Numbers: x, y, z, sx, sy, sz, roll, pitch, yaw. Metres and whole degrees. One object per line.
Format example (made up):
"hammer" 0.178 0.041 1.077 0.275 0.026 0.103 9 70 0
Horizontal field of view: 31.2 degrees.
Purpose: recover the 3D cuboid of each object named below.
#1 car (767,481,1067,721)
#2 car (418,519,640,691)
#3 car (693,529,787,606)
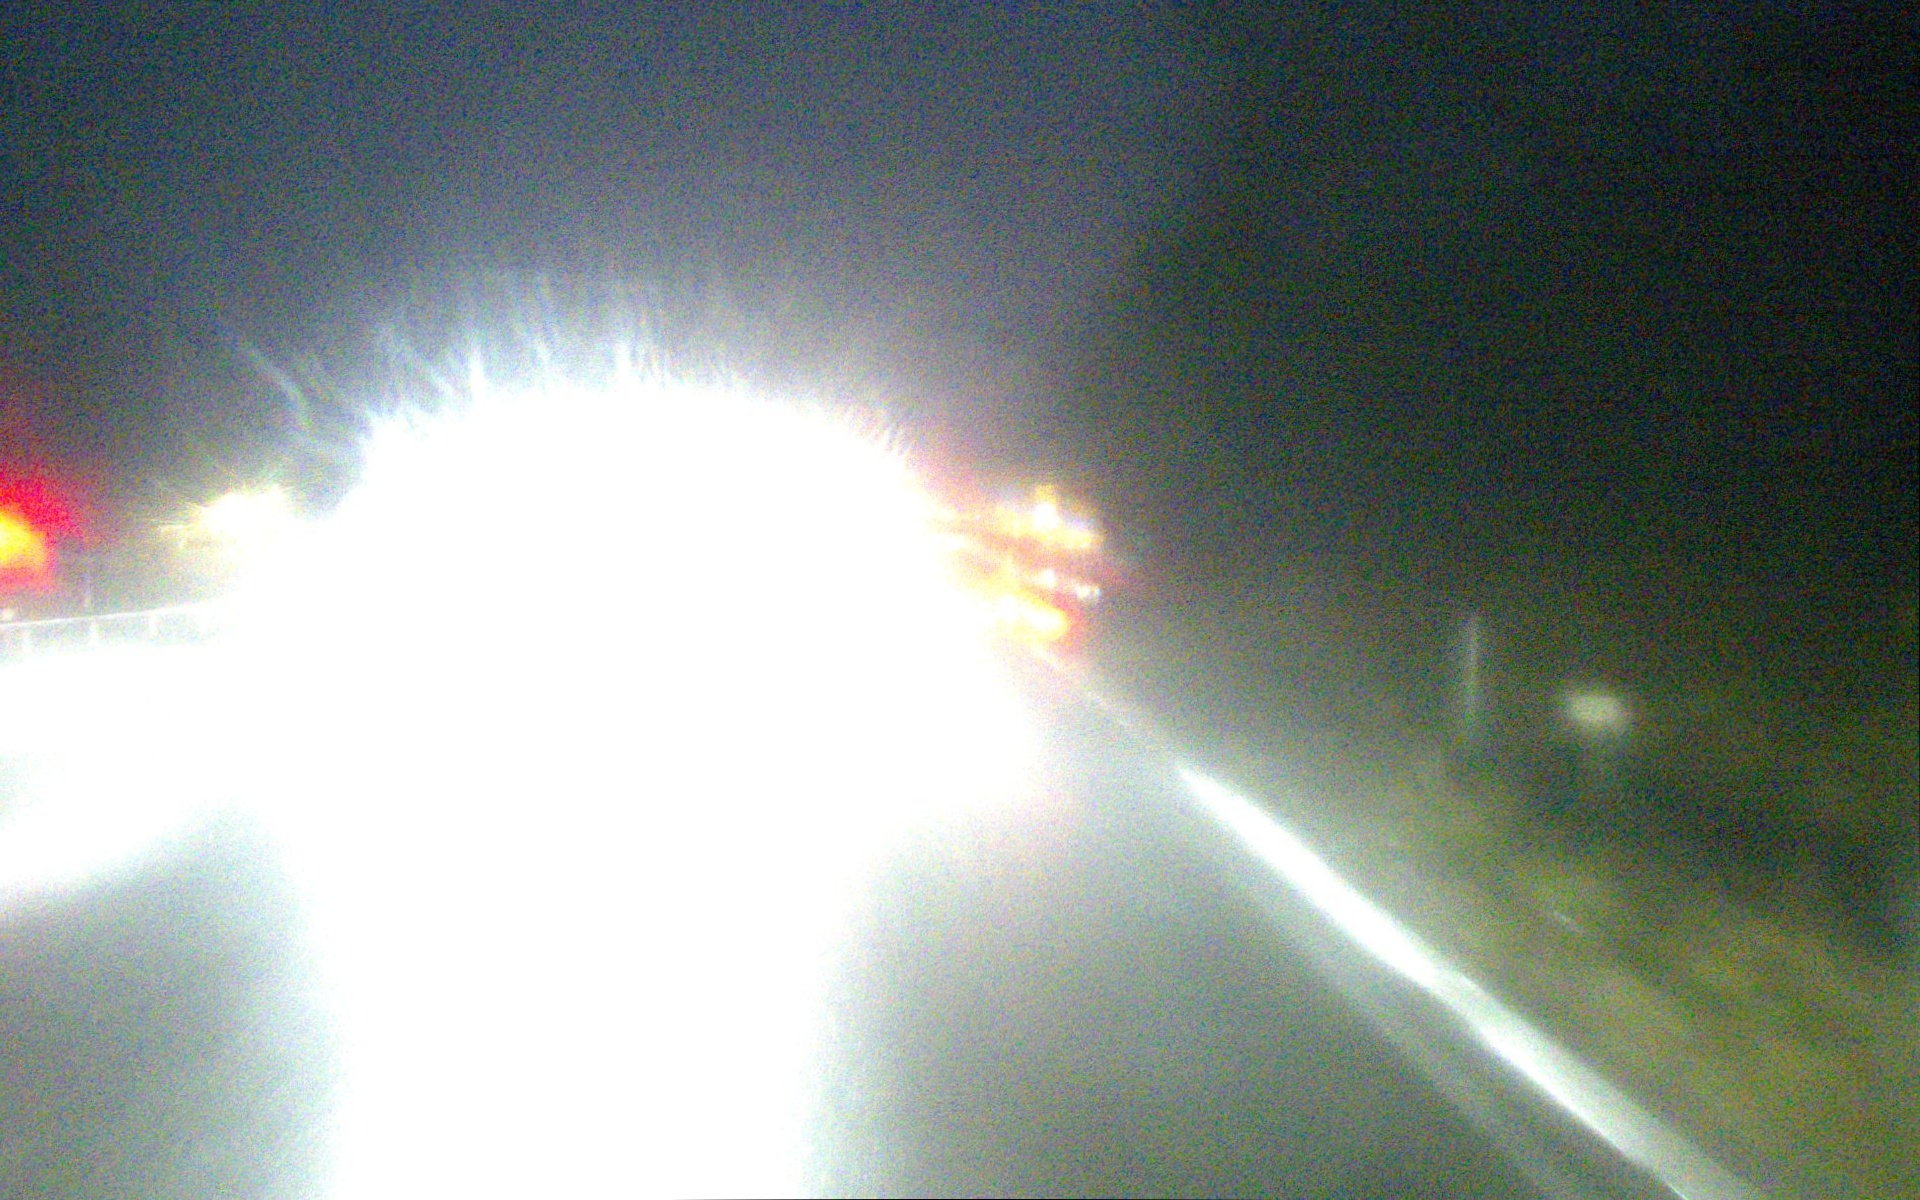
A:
"car" -0.346 -0.044 30.911 2.458 1.952 4.912 1 1 0
"car" -4.404 0.002 35.713 1.804 1.622 4.407 -2 1 -1
"car" -4.724 -0.720 74.231 1.765 1.514 4.490 -3 1 -1
